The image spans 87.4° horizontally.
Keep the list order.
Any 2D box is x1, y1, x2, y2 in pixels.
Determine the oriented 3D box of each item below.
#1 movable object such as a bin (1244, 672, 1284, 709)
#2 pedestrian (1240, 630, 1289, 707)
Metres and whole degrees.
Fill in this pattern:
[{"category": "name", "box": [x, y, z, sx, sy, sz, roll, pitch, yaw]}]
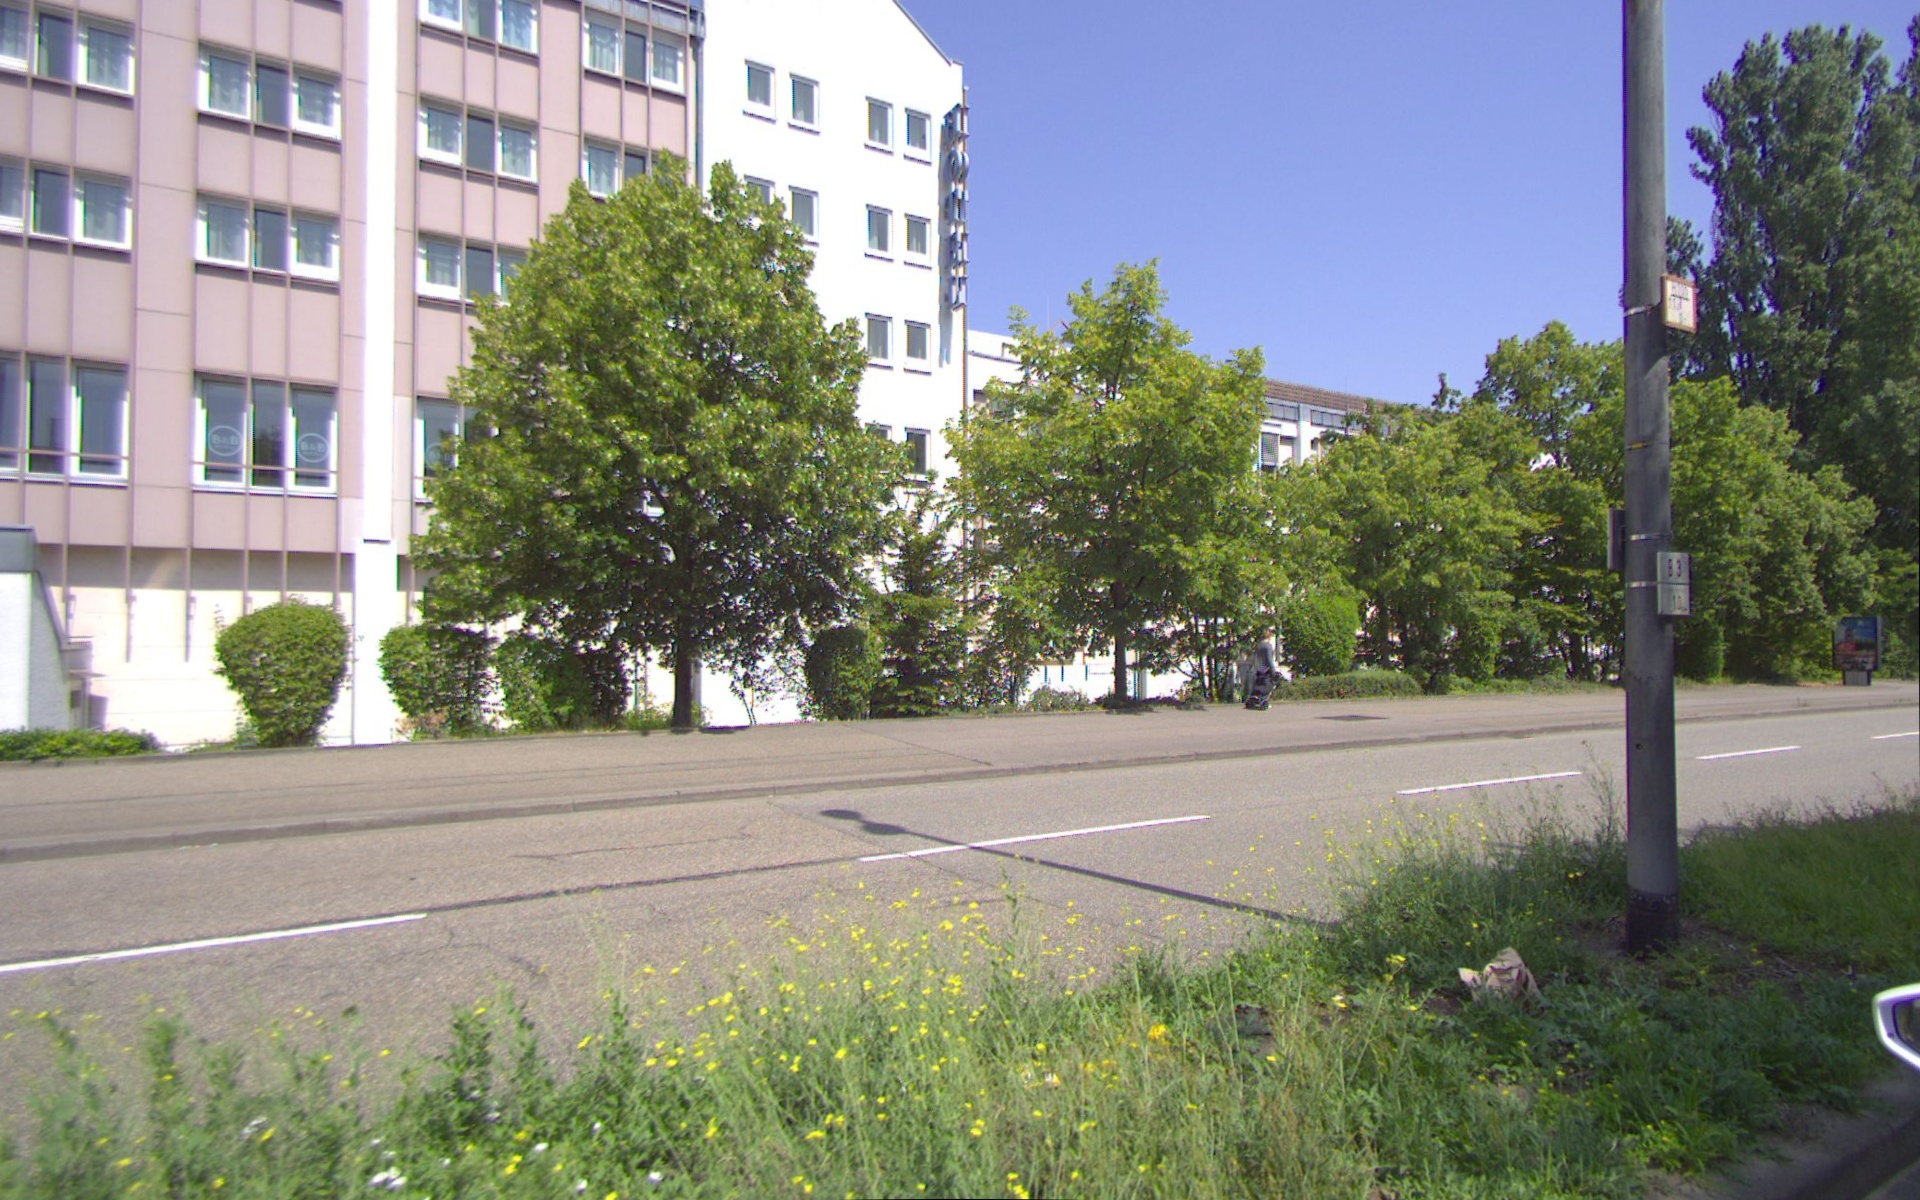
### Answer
[{"category": "movable object such as a bin", "box": [6.097, 1.814, 20.145, 0.642, 0.714, 0.427, 1, -3, -22]}, {"category": "pedestrian", "box": [6.271, 1.406, 20.726, 0.719, 1.565, 0.630, 1, -3, -31]}]
